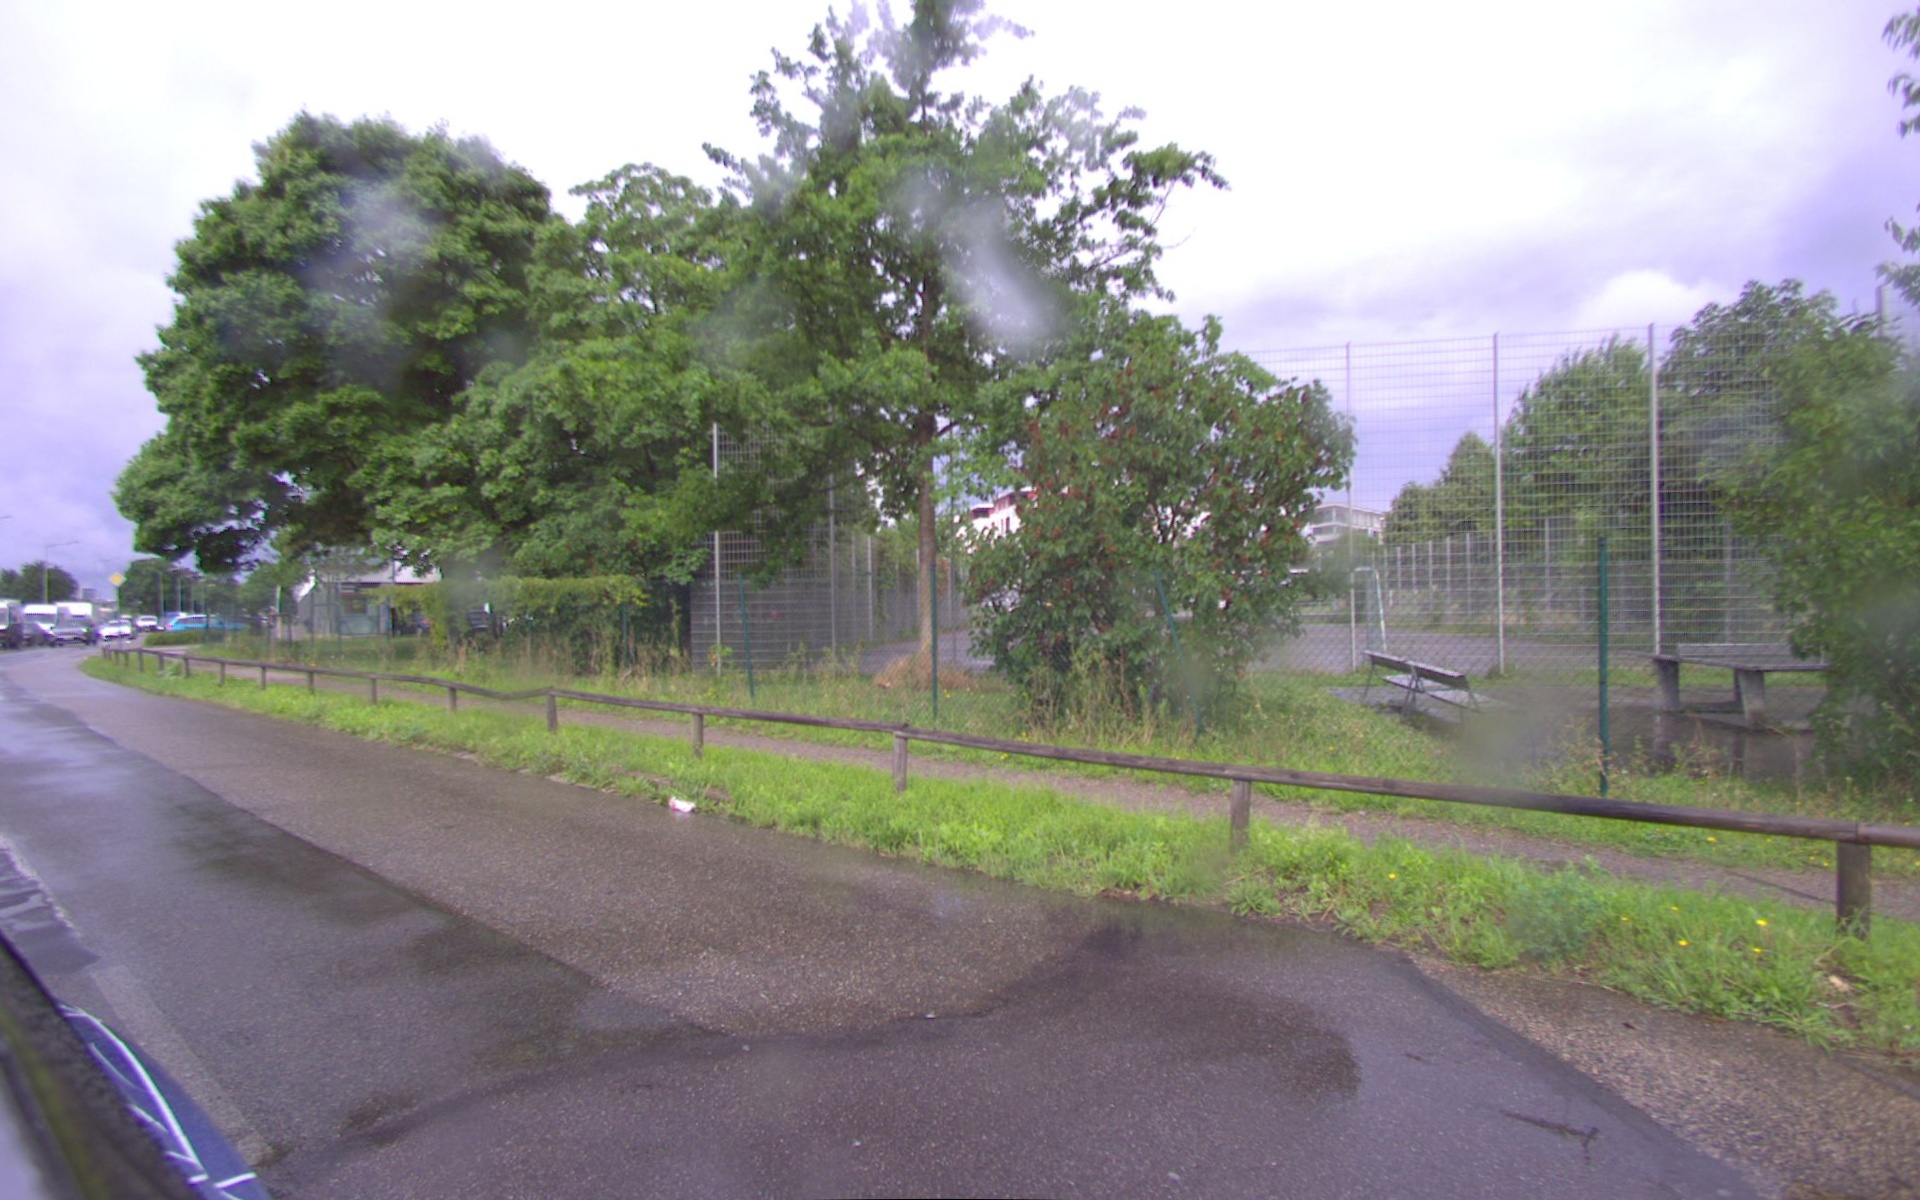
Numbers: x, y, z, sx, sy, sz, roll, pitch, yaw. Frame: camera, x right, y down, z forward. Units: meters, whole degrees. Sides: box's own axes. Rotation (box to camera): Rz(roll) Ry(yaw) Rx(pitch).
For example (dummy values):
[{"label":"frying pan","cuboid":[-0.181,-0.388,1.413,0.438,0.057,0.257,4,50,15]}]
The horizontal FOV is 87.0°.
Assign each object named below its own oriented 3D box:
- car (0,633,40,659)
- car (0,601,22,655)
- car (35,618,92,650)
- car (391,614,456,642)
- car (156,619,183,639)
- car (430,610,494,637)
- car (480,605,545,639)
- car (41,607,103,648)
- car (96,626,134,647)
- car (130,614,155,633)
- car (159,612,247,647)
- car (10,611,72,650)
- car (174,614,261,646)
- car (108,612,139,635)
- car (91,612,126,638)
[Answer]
[{"label":"car","cuboid":[-57.664,2.763,61.552,1.706,1.505,4.454,1,-2,-32]},{"label":"car","cuboid":[-53.788,1.493,55.874,2.115,2.905,5.289,3,-2,-35]},{"label":"car","cuboid":[-53.205,1.978,60.107,1.978,1.718,4.340,-2,0,-35]},{"label":"car","cuboid":[-29.889,1.541,56.305,4.183,1.407,1.622,-1,2,38]},{"label":"car","cuboid":[-87.072,3.201,111.499,1.967,2.028,4.010,-4,2,-35]},{"label":"car","cuboid":[-28.472,1.337,57.794,4.124,1.407,1.667,-1,2,38]},{"label":"car","cuboid":[-26.352,1.249,59.487,4.344,1.849,1.622,-1,2,38]},{"label":"car","cuboid":[-68.810,2.102,78.508,2.437,2.978,6.906,1,-1,-31]},{"label":"car","cuboid":[-65.100,2.804,77.981,1.812,1.530,4.368,0,-1,-34]},{"label":"car","cuboid":[-98.040,2.788,121.430,1.967,2.258,4.575,-1,-1,-34]},{"label":"car","cuboid":[-42.587,1.627,57.013,3.759,1.645,1.760,-4,2,-32]},{"label":"car","cuboid":[-62.944,2.061,69.433,2.040,2.548,6.675,1,-2,-33]},{"label":"car","cuboid":[-44.895,1.795,61.320,4.117,1.561,1.864,-4,2,-35]},{"label":"car","cuboid":[-85.531,2.439,103.528,1.967,2.258,4.575,-1,-1,-34]},{"label":"car","cuboid":[-78.691,2.306,93.540,1.967,2.258,4.575,-1,-1,-34]}]
